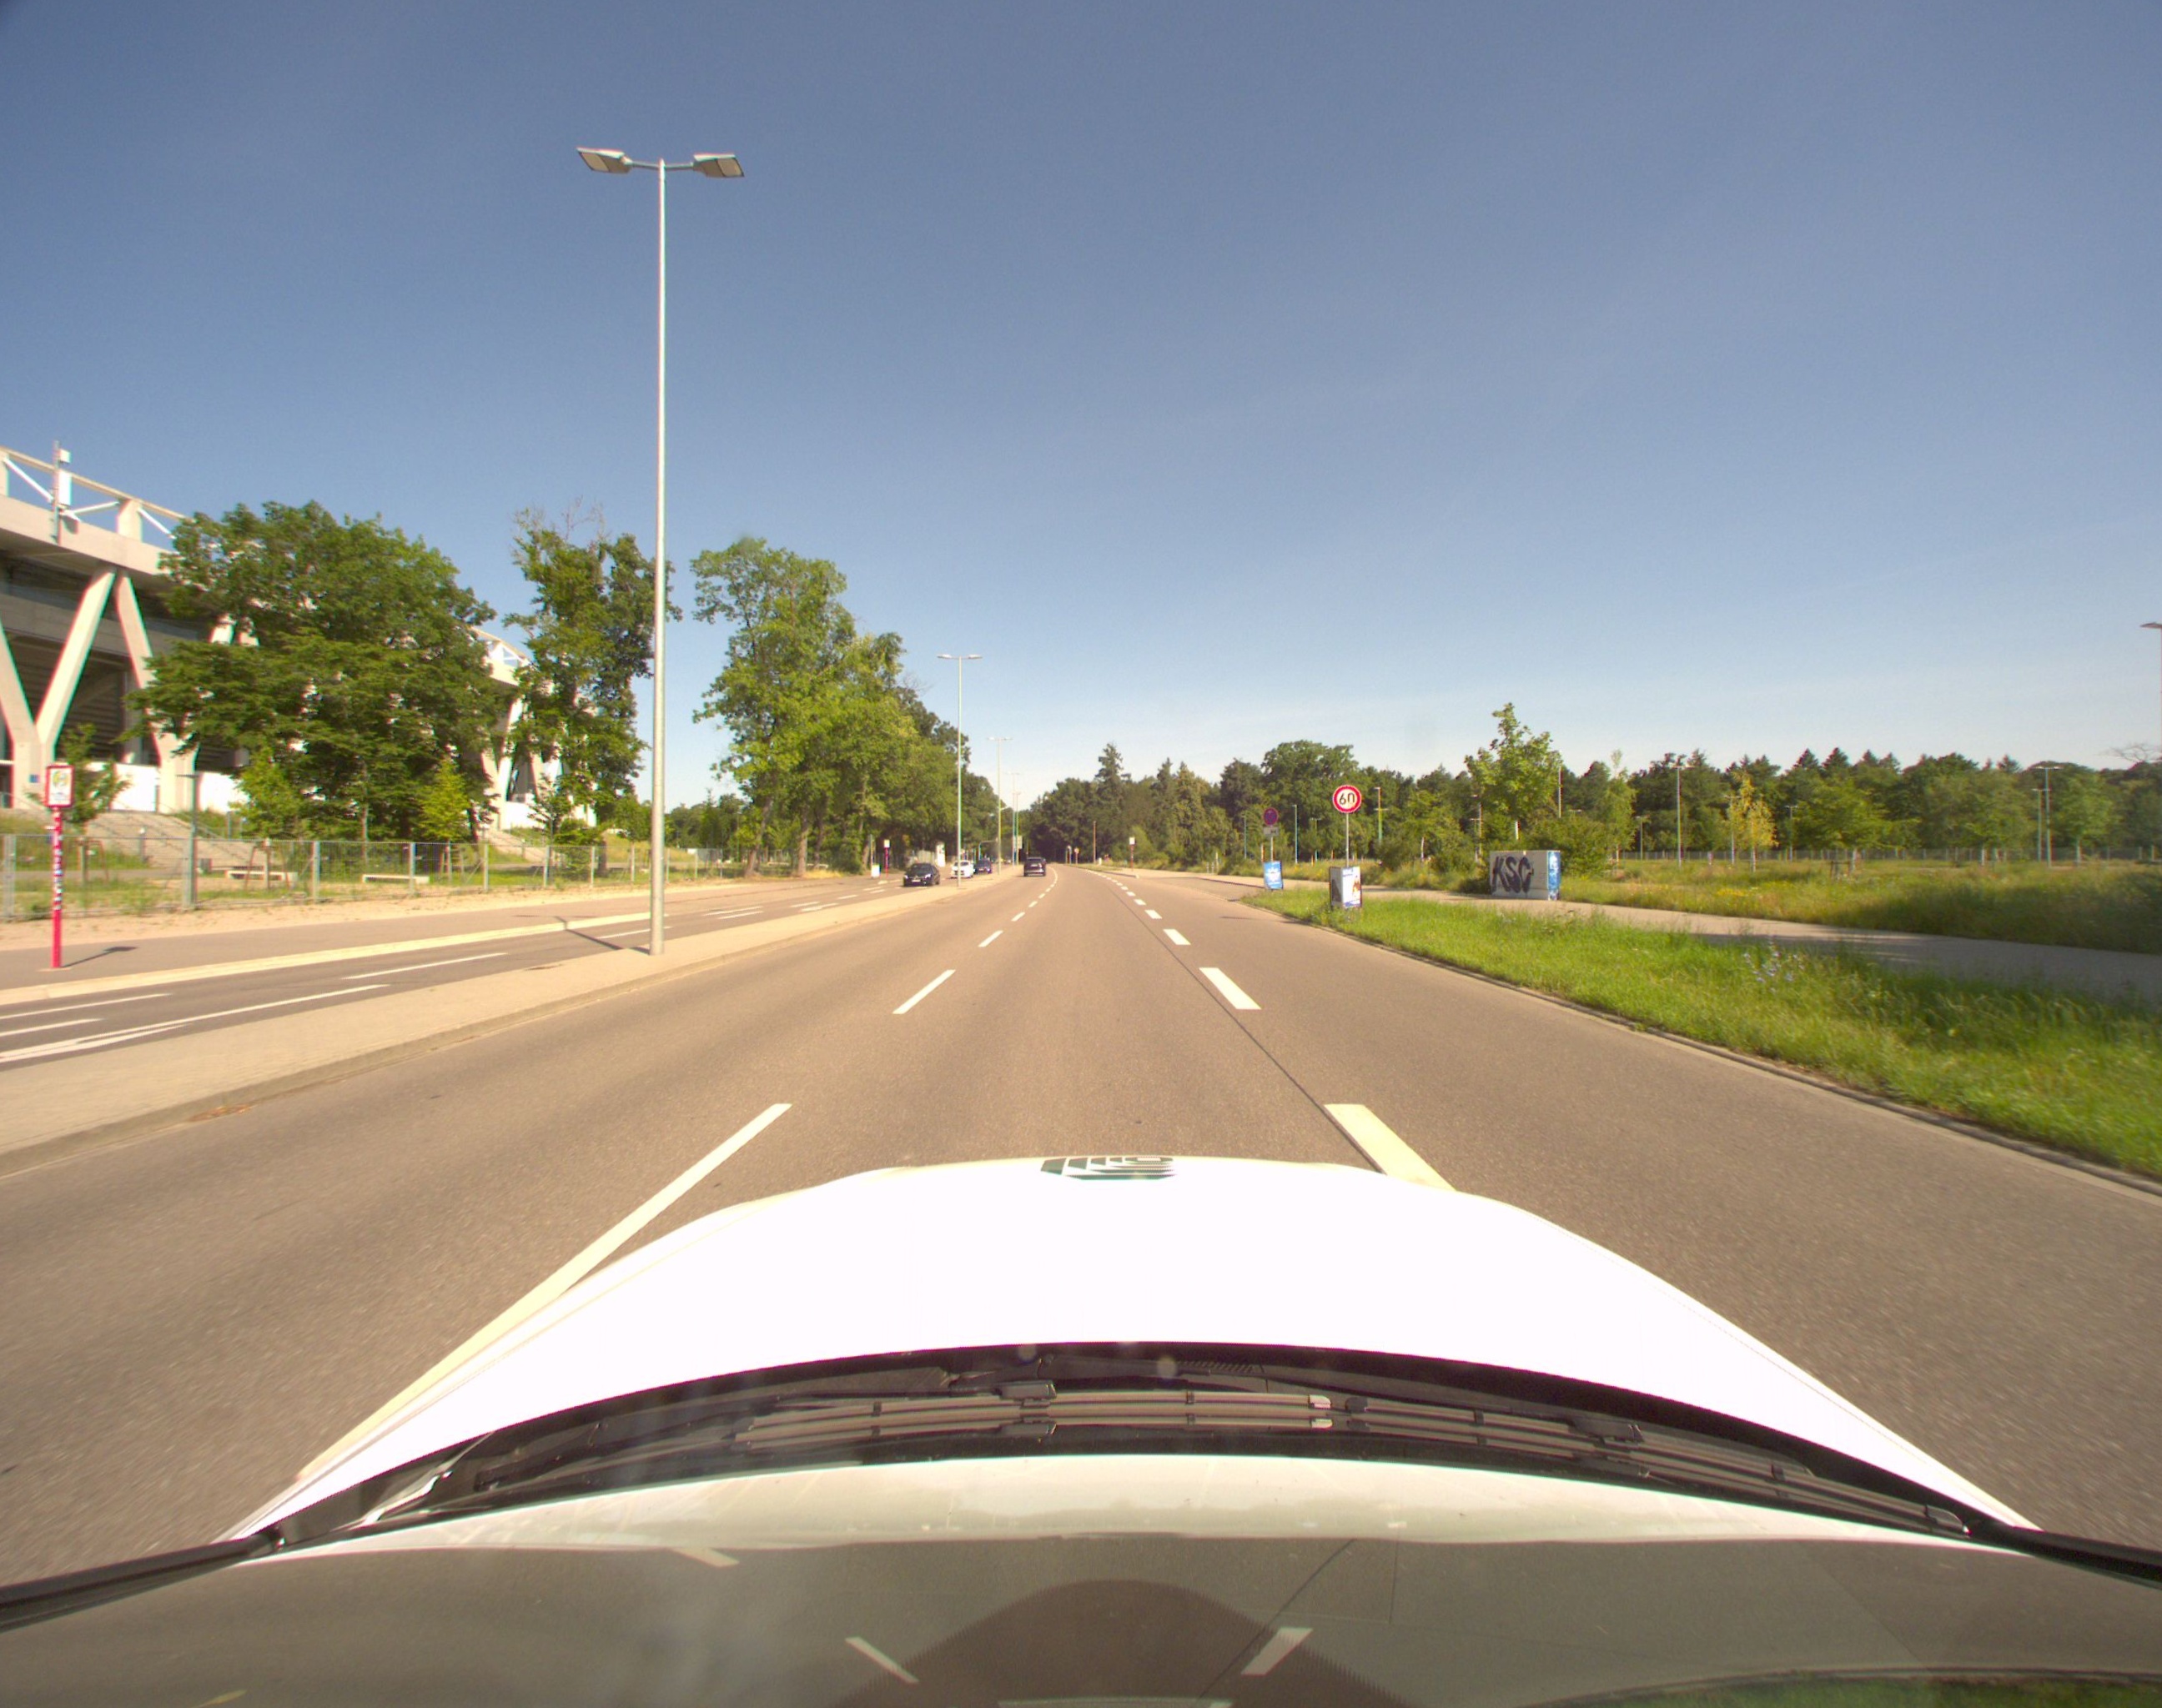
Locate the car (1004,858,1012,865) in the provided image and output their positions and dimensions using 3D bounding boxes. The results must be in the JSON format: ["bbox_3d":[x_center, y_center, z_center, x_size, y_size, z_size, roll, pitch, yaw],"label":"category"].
[{"bbox_3d":[-18.644,1.896,208.693,1.837,1.932,4.624,-1,0,-3],"label":"car"}]

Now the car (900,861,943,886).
[{"bbox_3d":[-9.910,1.207,50.782,1.805,1.388,4.160,-3,0,0],"label":"car"}]

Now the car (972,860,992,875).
[{"bbox_3d":[-10.513,1.471,86.844,1.749,1.486,3.944,-2,0,-2],"label":"car"}]

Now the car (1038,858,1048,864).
[{"bbox_3d":[-8.170,1.534,176.955,1.938,1.420,4.284,0,0,-6],"label":"car"}]

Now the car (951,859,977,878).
[{"bbox_3d":[-9.793,1.216,68.173,1.618,1.466,3.799,-2,0,-1],"label":"car"}]

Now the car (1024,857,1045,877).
[{"bbox_3d":[-3.881,1.082,68.195,1.684,1.544,4.144,-1,0,-3],"label":"car"}]
